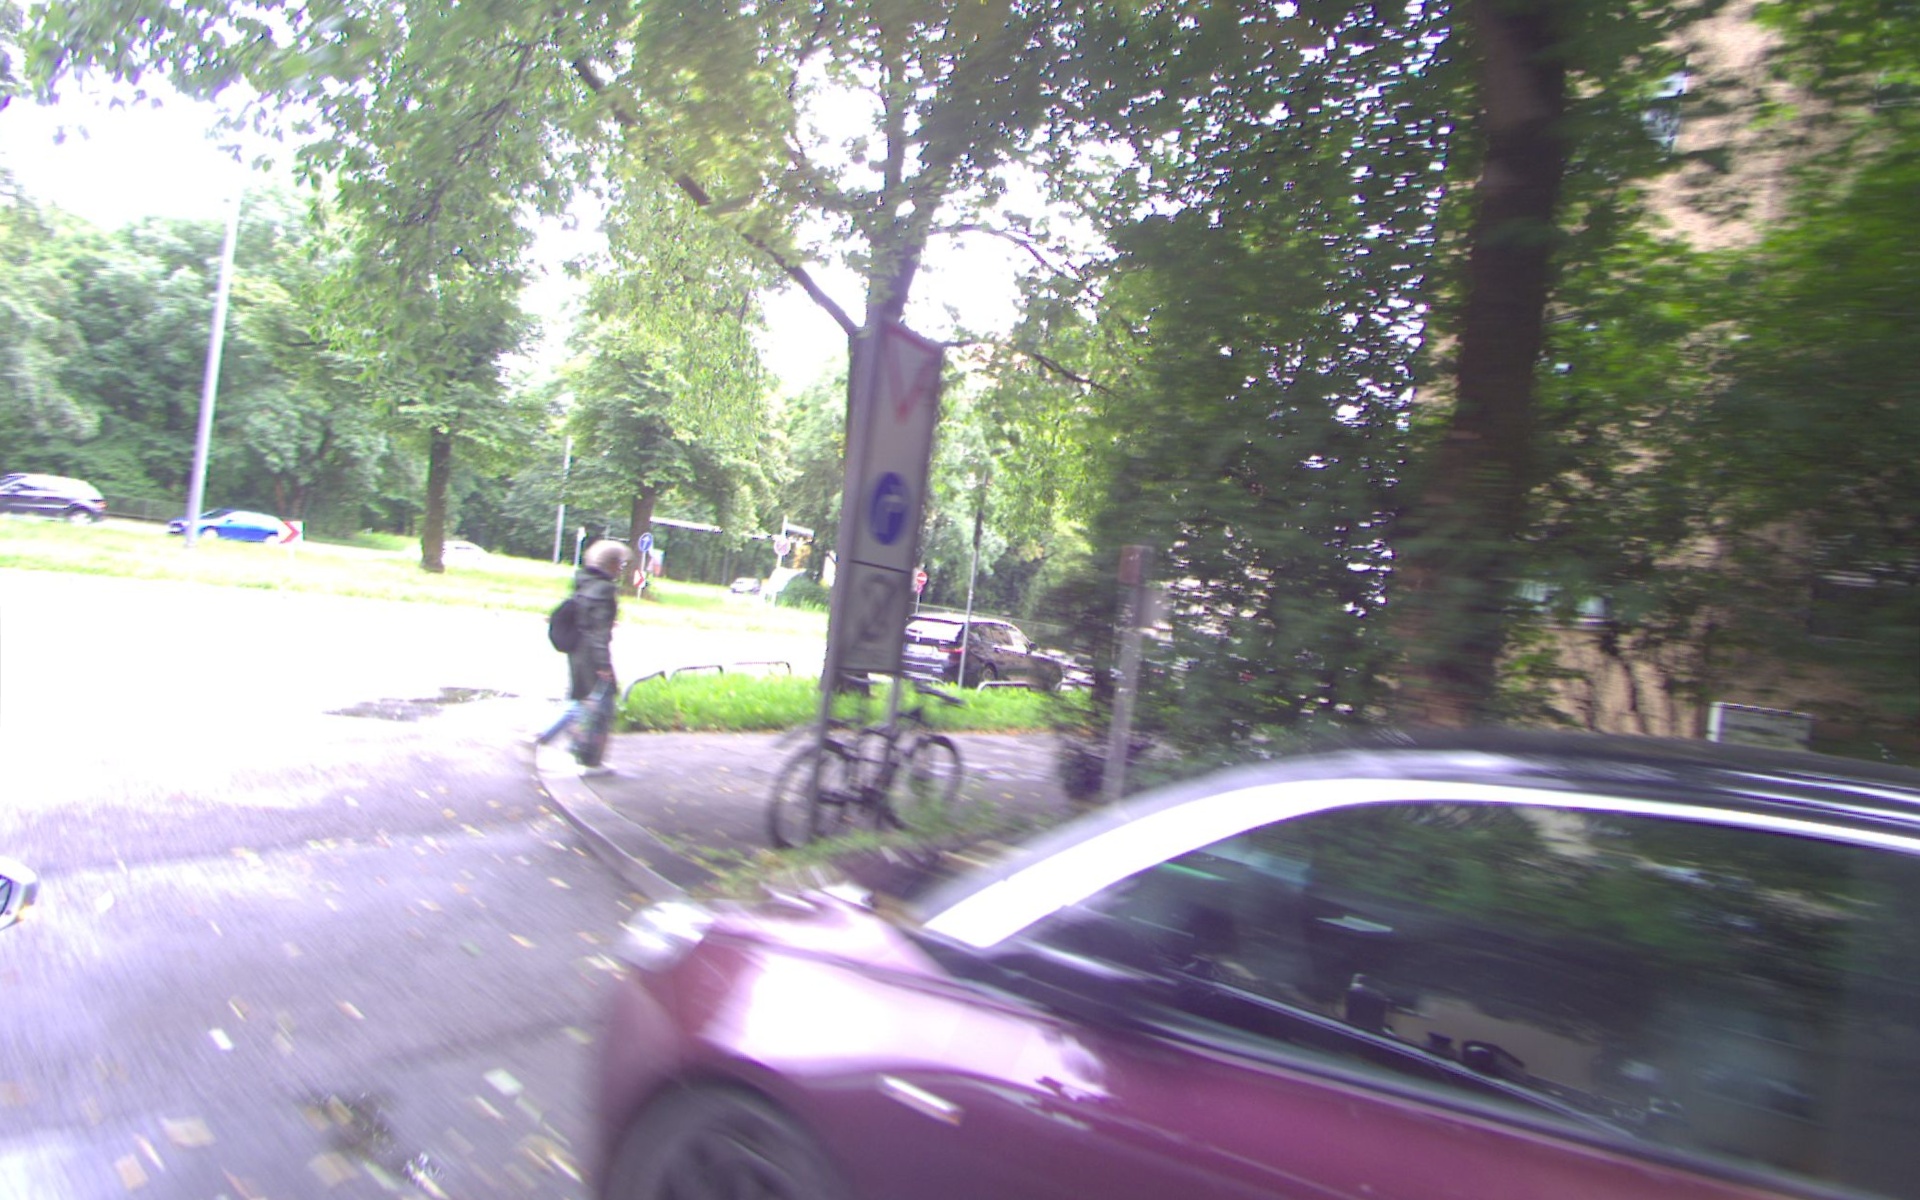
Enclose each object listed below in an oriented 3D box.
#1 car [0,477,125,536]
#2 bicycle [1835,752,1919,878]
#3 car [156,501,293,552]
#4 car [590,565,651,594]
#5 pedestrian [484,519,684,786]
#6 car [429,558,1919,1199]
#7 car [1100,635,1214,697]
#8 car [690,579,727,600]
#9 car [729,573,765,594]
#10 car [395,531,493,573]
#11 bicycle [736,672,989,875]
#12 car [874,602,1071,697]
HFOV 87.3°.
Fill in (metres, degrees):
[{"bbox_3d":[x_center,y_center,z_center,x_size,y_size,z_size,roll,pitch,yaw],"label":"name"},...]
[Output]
[{"bbox_3d":[-33.244,-3.449,35.805,1.963,1.584,5.047,7,-1,19],"label":"car"},{"bbox_3d":[9.479,2.127,9.379,1.804,1.056,0.555,7,1,26],"label":"bicycle"},{"bbox_3d":[-31.096,-3.073,42.698,1.896,1.489,4.280,7,-1,19],"label":"car"},{"bbox_3d":[-23.199,-1.384,68.921,1.895,1.489,4.281,7,-1,11],"label":"car"},{"bbox_3d":[-2.572,0.355,6.919,0.748,1.637,0.780,10,1,30],"label":"pedestrian"},{"bbox_3d":[0.887,0.918,1.955,3.581,1.492,1.651,7,-1,30],"label":"car"},{"bbox_3d":[5.411,1.835,27.271,1.588,1.361,3.992,7,-1,32],"label":"car"},{"bbox_3d":[-21.474,-0.894,85.999,1.896,1.489,4.279,7,-1,1],"label":"car"},{"bbox_3d":[-18.269,-1.387,86.440,1.896,1.489,4.279,7,-1,1],"label":"car"},{"bbox_3d":[-27.401,-2.531,53.592,1.895,1.598,4.520,7,-1,18],"label":"car"},{"bbox_3d":[-0.490,0.959,5.861,0.269,0.994,1.752,7,0,36],"label":"bicycle"},{"bbox_3d":[0.350,0.958,18.218,1.588,1.361,3.992,7,-1,32],"label":"car"}]
